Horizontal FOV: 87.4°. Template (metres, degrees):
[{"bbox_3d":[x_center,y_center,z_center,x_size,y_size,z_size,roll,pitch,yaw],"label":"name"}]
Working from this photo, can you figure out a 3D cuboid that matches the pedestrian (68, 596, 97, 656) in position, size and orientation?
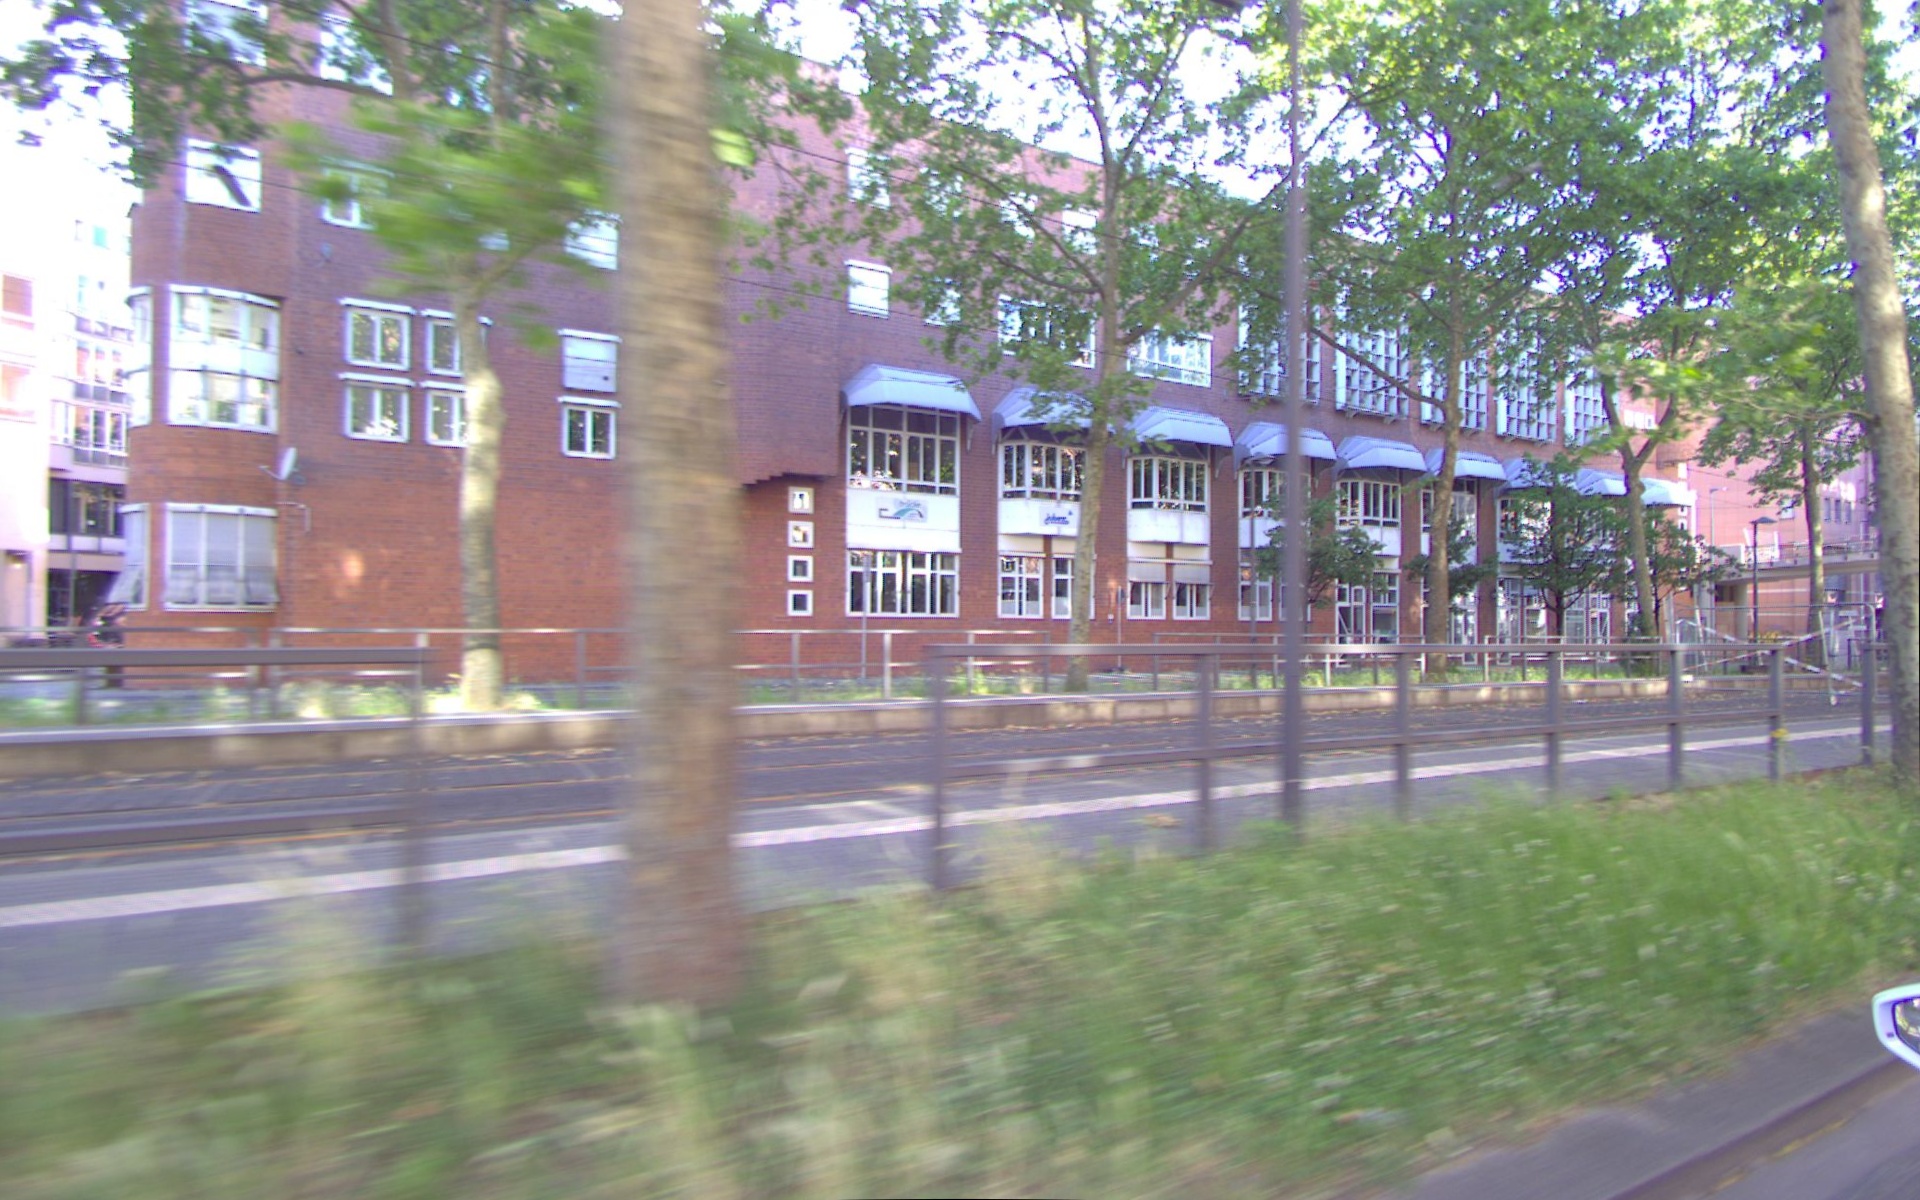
[{"bbox_3d":[-28.992,0.864,33.183,0.610,1.962,0.658,0,-1,44],"label":"pedestrian"}]
